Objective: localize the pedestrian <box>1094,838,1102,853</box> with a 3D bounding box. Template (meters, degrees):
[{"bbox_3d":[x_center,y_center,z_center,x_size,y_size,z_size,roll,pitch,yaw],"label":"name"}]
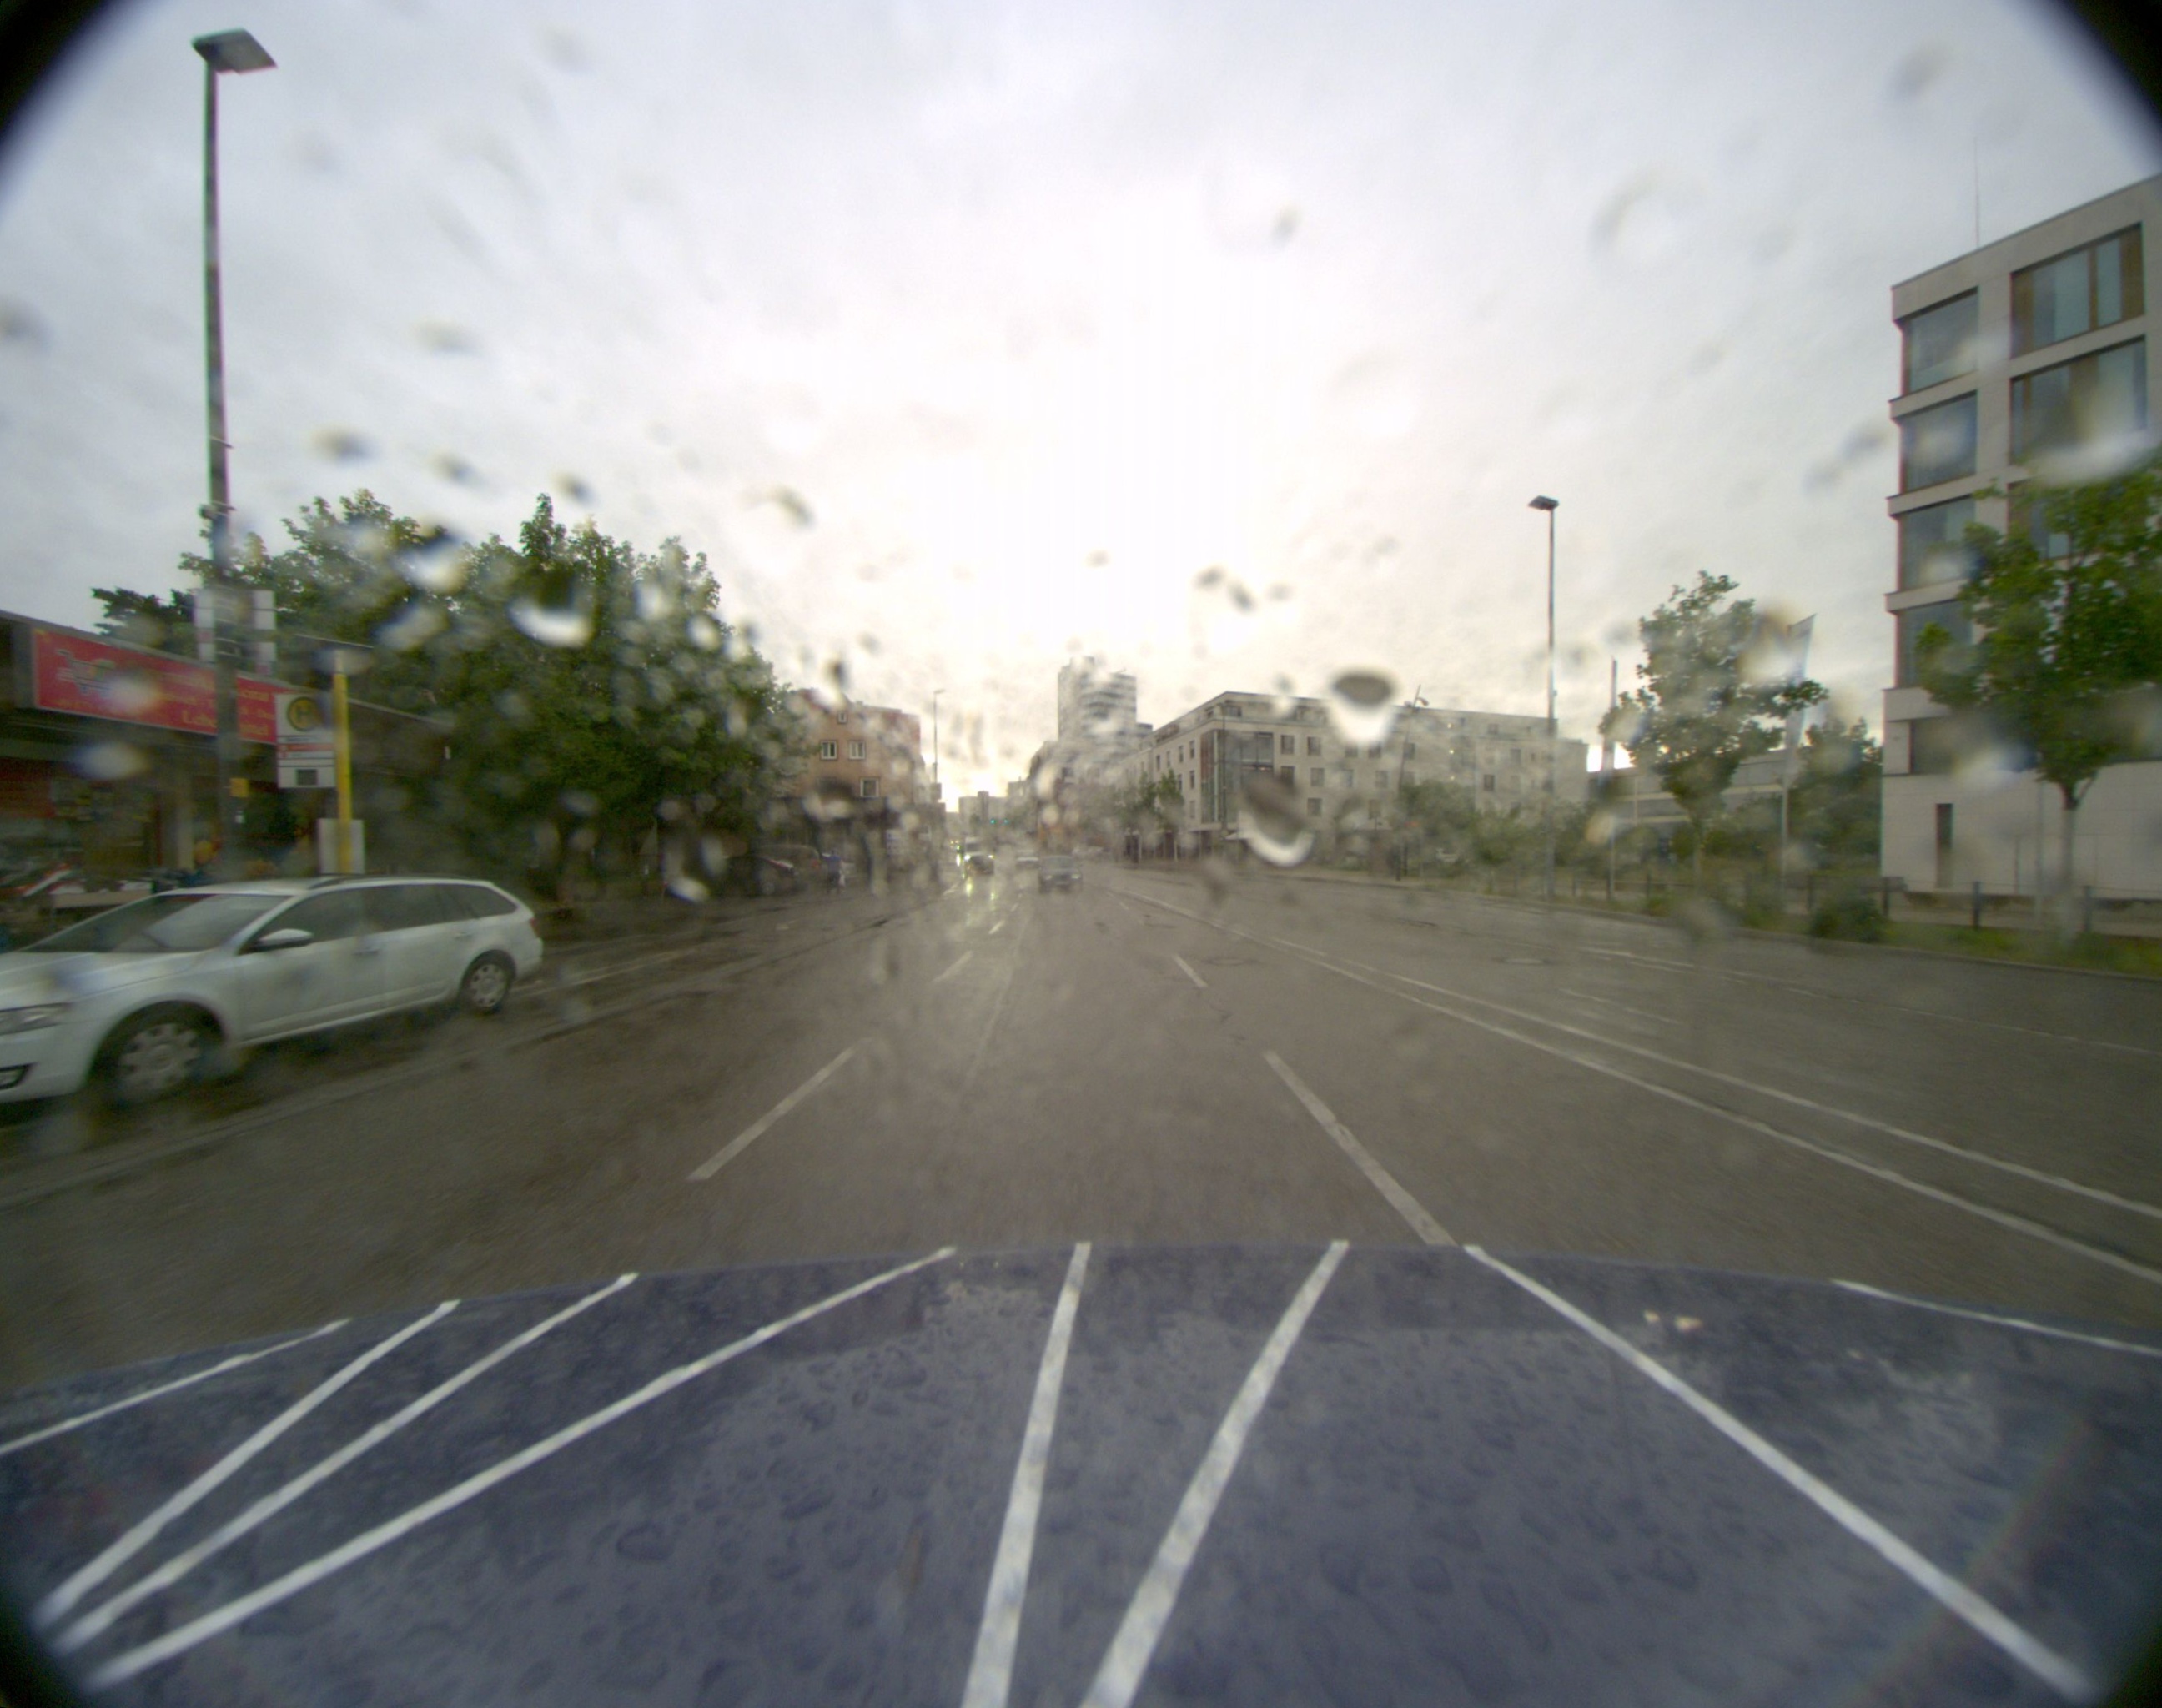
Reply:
[{"bbox_3d":[2.152,-1.096,94.979,0.803,1.778,0.881,0,3,-10],"label":"pedestrian"}]

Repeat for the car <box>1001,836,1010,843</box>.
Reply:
[{"bbox_3d":[-18.272,-3.526,184.018,1.887,1.515,4.178,0,3,-9],"label":"car"}]

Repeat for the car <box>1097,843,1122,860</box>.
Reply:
[{"bbox_3d":[2.820,-0.299,74.977,1.593,1.573,4.465,0,1,-10],"label":"car"}]

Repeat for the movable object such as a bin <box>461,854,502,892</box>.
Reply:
[{"bbox_3d":[-16.542,0.516,20.962,0.646,1.050,0.640,0,1,-10],"label":"movable object such as a bin"}]

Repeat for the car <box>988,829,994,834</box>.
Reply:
[{"bbox_3d":[-30.433,-7.592,255.704,2.007,1.609,4.942,0,3,-7],"label":"car"}]

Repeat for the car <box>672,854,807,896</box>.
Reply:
[{"bbox_3d":[-12.408,0.752,27.842,4.161,1.446,1.801,0,2,-7],"label":"car"}]

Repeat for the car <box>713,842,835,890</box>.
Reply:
[{"bbox_3d":[-12.196,0.455,30.405,4.106,1.860,1.875,0,1,-4],"label":"car"}]

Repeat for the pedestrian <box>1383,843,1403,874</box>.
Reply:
[{"bbox_3d":[17.726,0.259,43.182,0.786,1.736,0.672,-1,4,-23],"label":"pedestrian"}]

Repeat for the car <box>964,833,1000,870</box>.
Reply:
[{"bbox_3d":[-7.225,-0.245,54.872,2.299,2.369,6.615,0,3,-10],"label":"car"}]

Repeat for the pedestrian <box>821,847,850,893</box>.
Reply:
[{"bbox_3d":[-9.298,0.608,28.804,0.878,1.727,0.759,1,1,-7],"label":"pedestrian"}]

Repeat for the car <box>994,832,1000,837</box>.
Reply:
[{"bbox_3d":[-25.243,-5.850,228.210,1.655,1.410,4.133,2,3,-9],"label":"car"}]

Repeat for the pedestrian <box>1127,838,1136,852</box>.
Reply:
[{"bbox_3d":[6.405,-1.193,96.178,0.811,1.729,1.001,0,3,-10],"label":"pedestrian"}]

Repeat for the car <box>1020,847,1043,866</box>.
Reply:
[{"bbox_3d":[-3.867,0.181,58.956,1.663,1.301,3.991,0,3,-5],"label":"car"}]

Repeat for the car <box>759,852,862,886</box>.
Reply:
[{"bbox_3d":[-11.966,0.660,33.846,3.998,1.439,1.745,0,1,-4],"label":"car"}]

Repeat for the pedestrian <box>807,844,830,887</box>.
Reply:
[{"bbox_3d":[-11.263,0.482,32.578,0.711,1.811,0.794,-2,4,-35],"label":"pedestrian"}]

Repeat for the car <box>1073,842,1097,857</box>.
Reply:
[{"bbox_3d":[0.407,-0.565,85.664,1.801,1.455,4.471,-1,3,-11],"label":"car"}]

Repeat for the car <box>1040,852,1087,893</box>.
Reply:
[{"bbox_3d":[-0.790,0.695,31.161,1.689,1.374,3.790,-1,3,-5],"label":"car"}]

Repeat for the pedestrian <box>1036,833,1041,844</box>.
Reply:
[{"bbox_3d":[-7.885,-2.912,140.357,0.663,1.911,0.945,-3,4,-17],"label":"pedestrian"}]

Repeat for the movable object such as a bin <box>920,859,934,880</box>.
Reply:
[{"bbox_3d":[-8.103,0.808,39.910,0.638,1.068,0.698,0,0,-6],"label":"movable object such as a bin"}]

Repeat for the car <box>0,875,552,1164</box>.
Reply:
[{"bbox_3d":[-7.008,1.020,6.461,1.734,1.489,4.481,1,1,3],"label":"car"}]

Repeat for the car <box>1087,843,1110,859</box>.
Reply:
[{"bbox_3d":[1.820,-0.345,80.445,1.696,1.502,4.572,0,3,-7],"label":"car"}]
